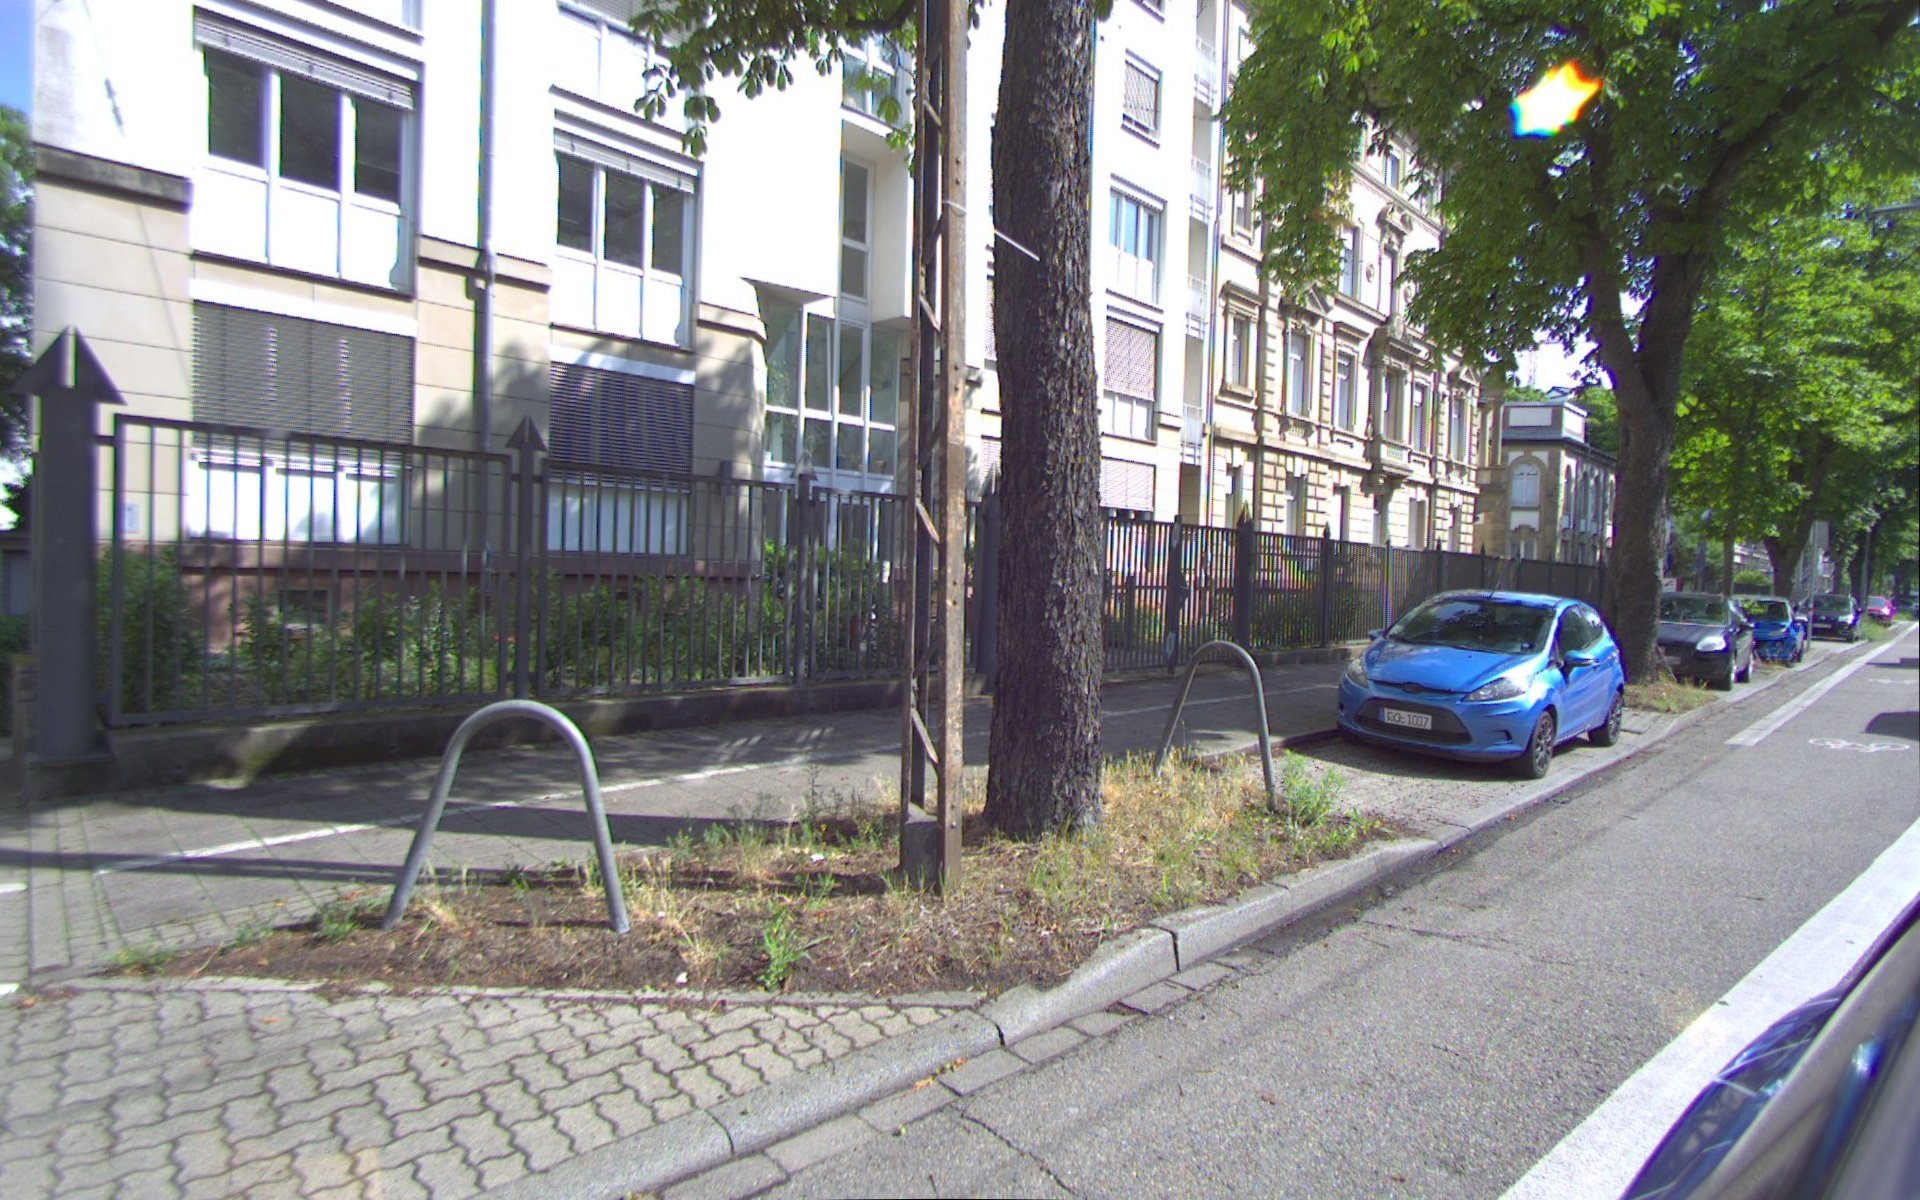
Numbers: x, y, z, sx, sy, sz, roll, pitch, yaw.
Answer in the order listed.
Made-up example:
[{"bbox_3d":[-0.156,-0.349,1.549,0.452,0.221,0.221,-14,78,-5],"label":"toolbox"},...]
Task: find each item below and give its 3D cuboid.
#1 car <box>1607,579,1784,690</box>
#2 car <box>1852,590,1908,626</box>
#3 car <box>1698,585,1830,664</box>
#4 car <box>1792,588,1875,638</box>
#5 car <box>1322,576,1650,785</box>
[{"bbox_3d":[12.177,0.486,16.681,3.562,1.526,1.643,0,4,-43],"label":"car"},{"bbox_3d":[46.817,0.377,51.493,4.130,1.591,1.772,0,4,-44],"label":"car"},{"bbox_3d":[17.804,0.474,22.366,3.861,1.469,1.722,0,4,-44],"label":"car"},{"bbox_3d":[30.830,0.406,35.662,4.130,1.549,1.772,0,4,-44],"label":"car"},{"bbox_3d":[5.022,0.581,9.449,1.639,1.472,3.639,6,4,45],"label":"car"}]
